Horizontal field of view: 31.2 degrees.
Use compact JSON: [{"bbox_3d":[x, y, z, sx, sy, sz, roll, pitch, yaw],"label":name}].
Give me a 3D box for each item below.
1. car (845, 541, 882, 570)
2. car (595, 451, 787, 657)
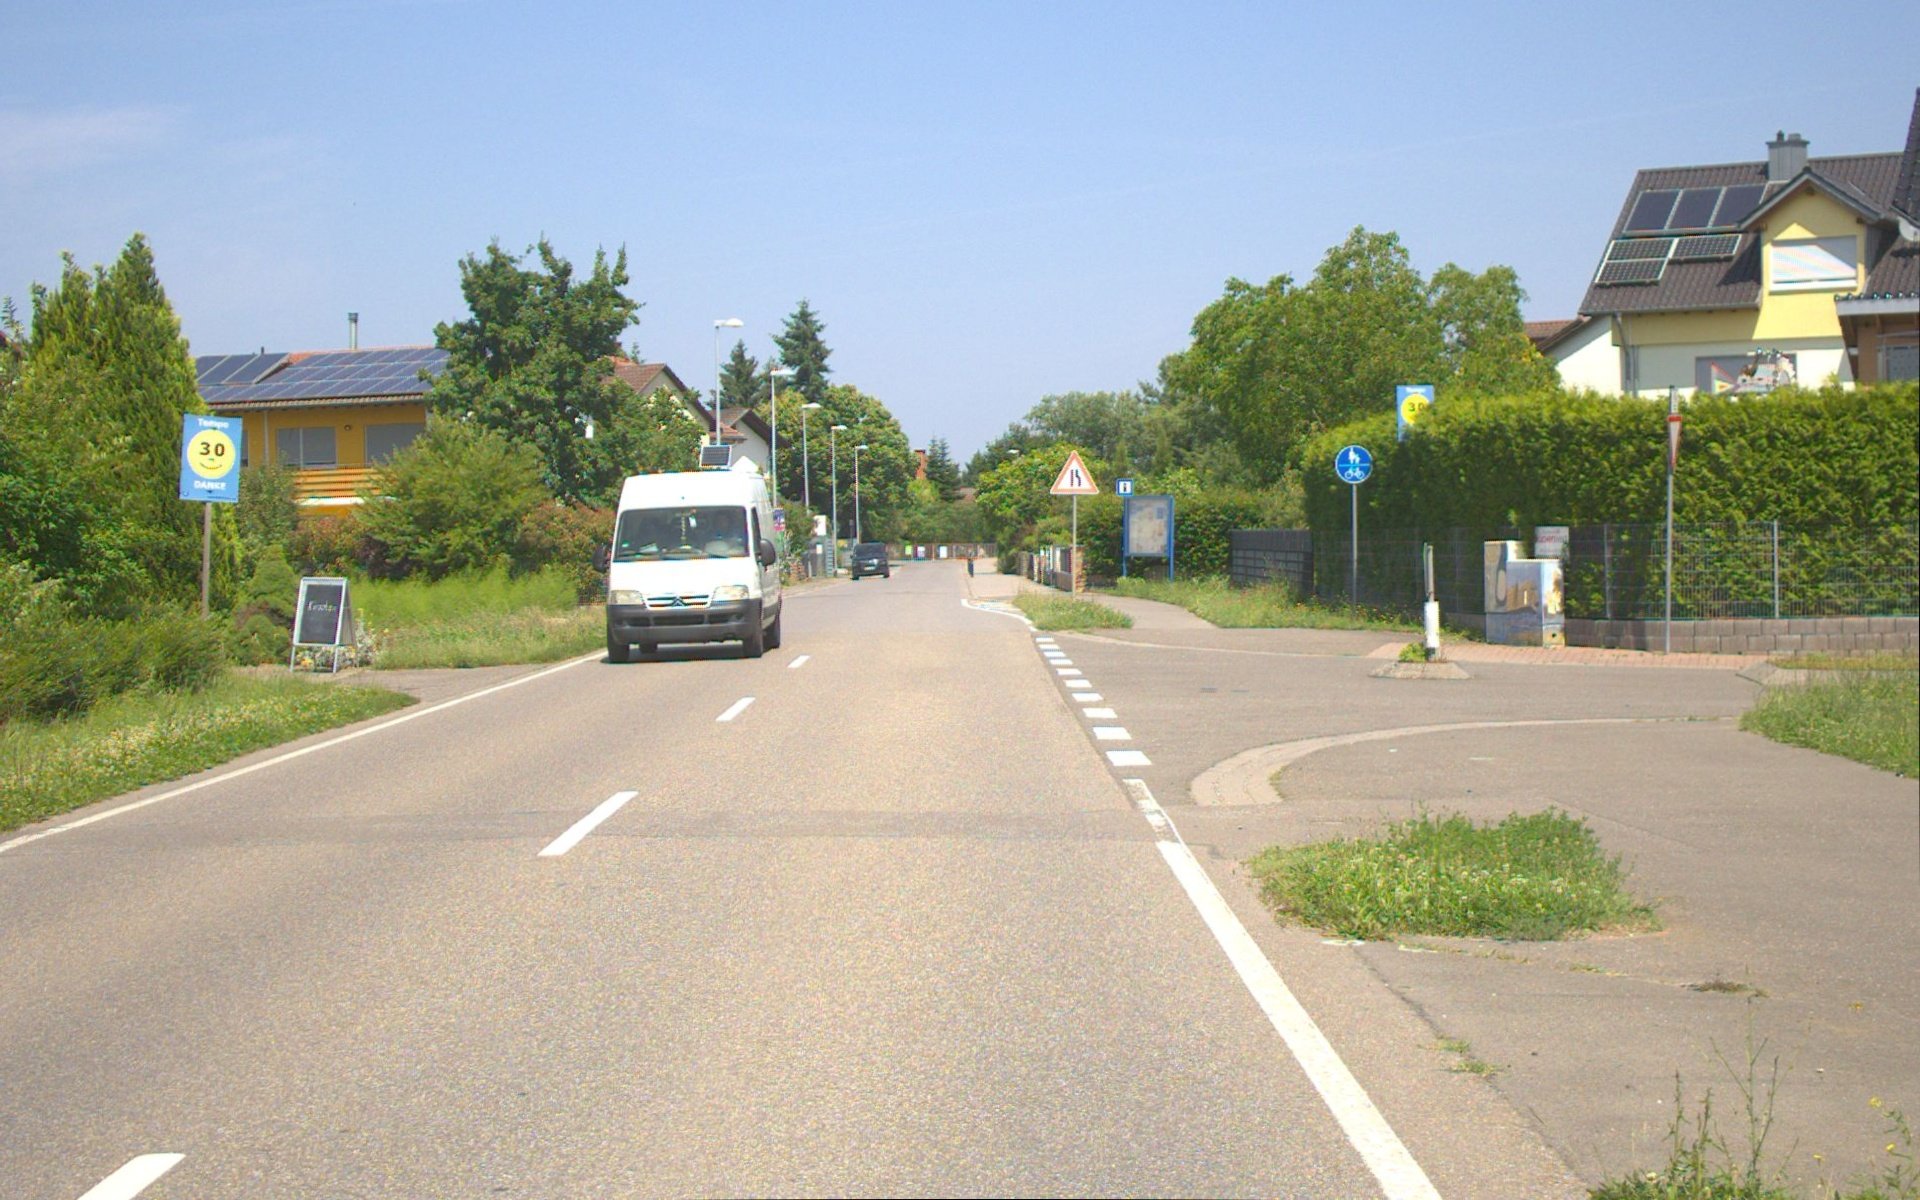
[{"bbox_3d":[-4.874,-2.233,173.237,1.759,1.380,3.453,-2,1,0],"label":"car"},{"bbox_3d":[-3.537,-0.661,46.280,2.077,2.533,5.874,-2,2,0],"label":"car"}]
